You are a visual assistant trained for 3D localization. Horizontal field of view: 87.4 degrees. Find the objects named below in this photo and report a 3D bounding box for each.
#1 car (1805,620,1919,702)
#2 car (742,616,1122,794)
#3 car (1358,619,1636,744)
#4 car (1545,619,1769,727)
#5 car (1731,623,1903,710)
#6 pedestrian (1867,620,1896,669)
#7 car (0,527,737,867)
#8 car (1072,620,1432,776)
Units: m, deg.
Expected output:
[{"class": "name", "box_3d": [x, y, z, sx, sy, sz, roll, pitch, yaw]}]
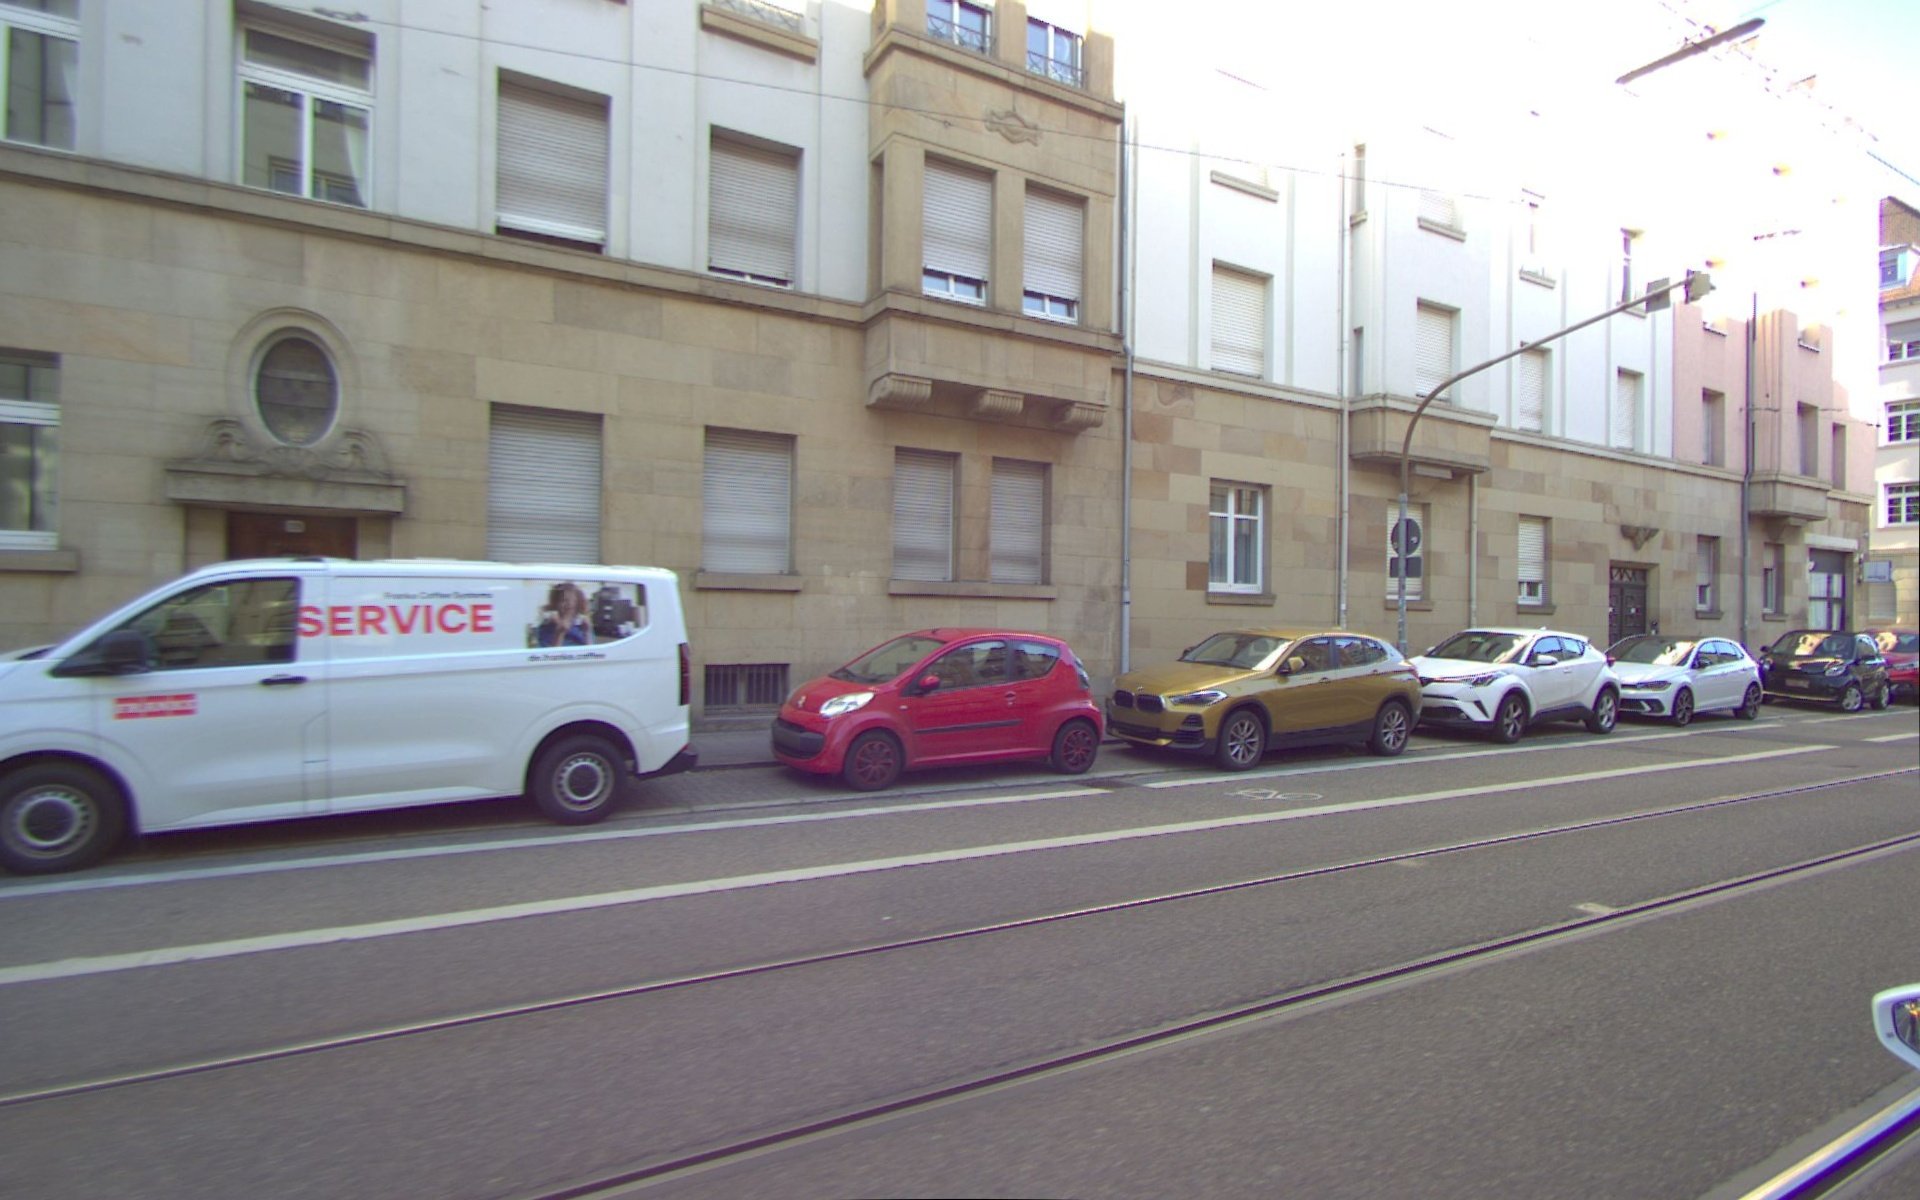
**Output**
[{"class": "car", "box_3d": [21.183, 1.339, 22.825, 4.349, 1.628, 1.773, 1, 1, -32]}, {"class": "car", "box_3d": [-0.251, 0.968, 10.388, 3.603, 1.492, 1.595, 1, 1, -30]}, {"class": "car", "box_3d": [8.131, 1.131, 15.096, 4.318, 1.568, 1.762, 1, 1, -32]}, {"class": "car", "box_3d": [12.389, 1.214, 17.802, 4.133, 1.643, 1.773, 1, 1, -32]}, {"class": "car", "box_3d": [17.542, 1.305, 20.567, 2.984, 1.573, 1.774, 1, 1, -30]}, {"class": "pedestrian", "box_3d": [33.336, 1.610, 36.331, 0.723, 1.735, 0.604, 1, -1, -30]}, {"class": "car", "box_3d": [-4.535, 0.579, 7.604, 5.192, 1.975, 1.962, 1, 1, -31]}, {"class": "car", "box_3d": [3.637, 1.073, 12.307, 4.310, 1.544, 1.774, 1, 1, -31]}]
